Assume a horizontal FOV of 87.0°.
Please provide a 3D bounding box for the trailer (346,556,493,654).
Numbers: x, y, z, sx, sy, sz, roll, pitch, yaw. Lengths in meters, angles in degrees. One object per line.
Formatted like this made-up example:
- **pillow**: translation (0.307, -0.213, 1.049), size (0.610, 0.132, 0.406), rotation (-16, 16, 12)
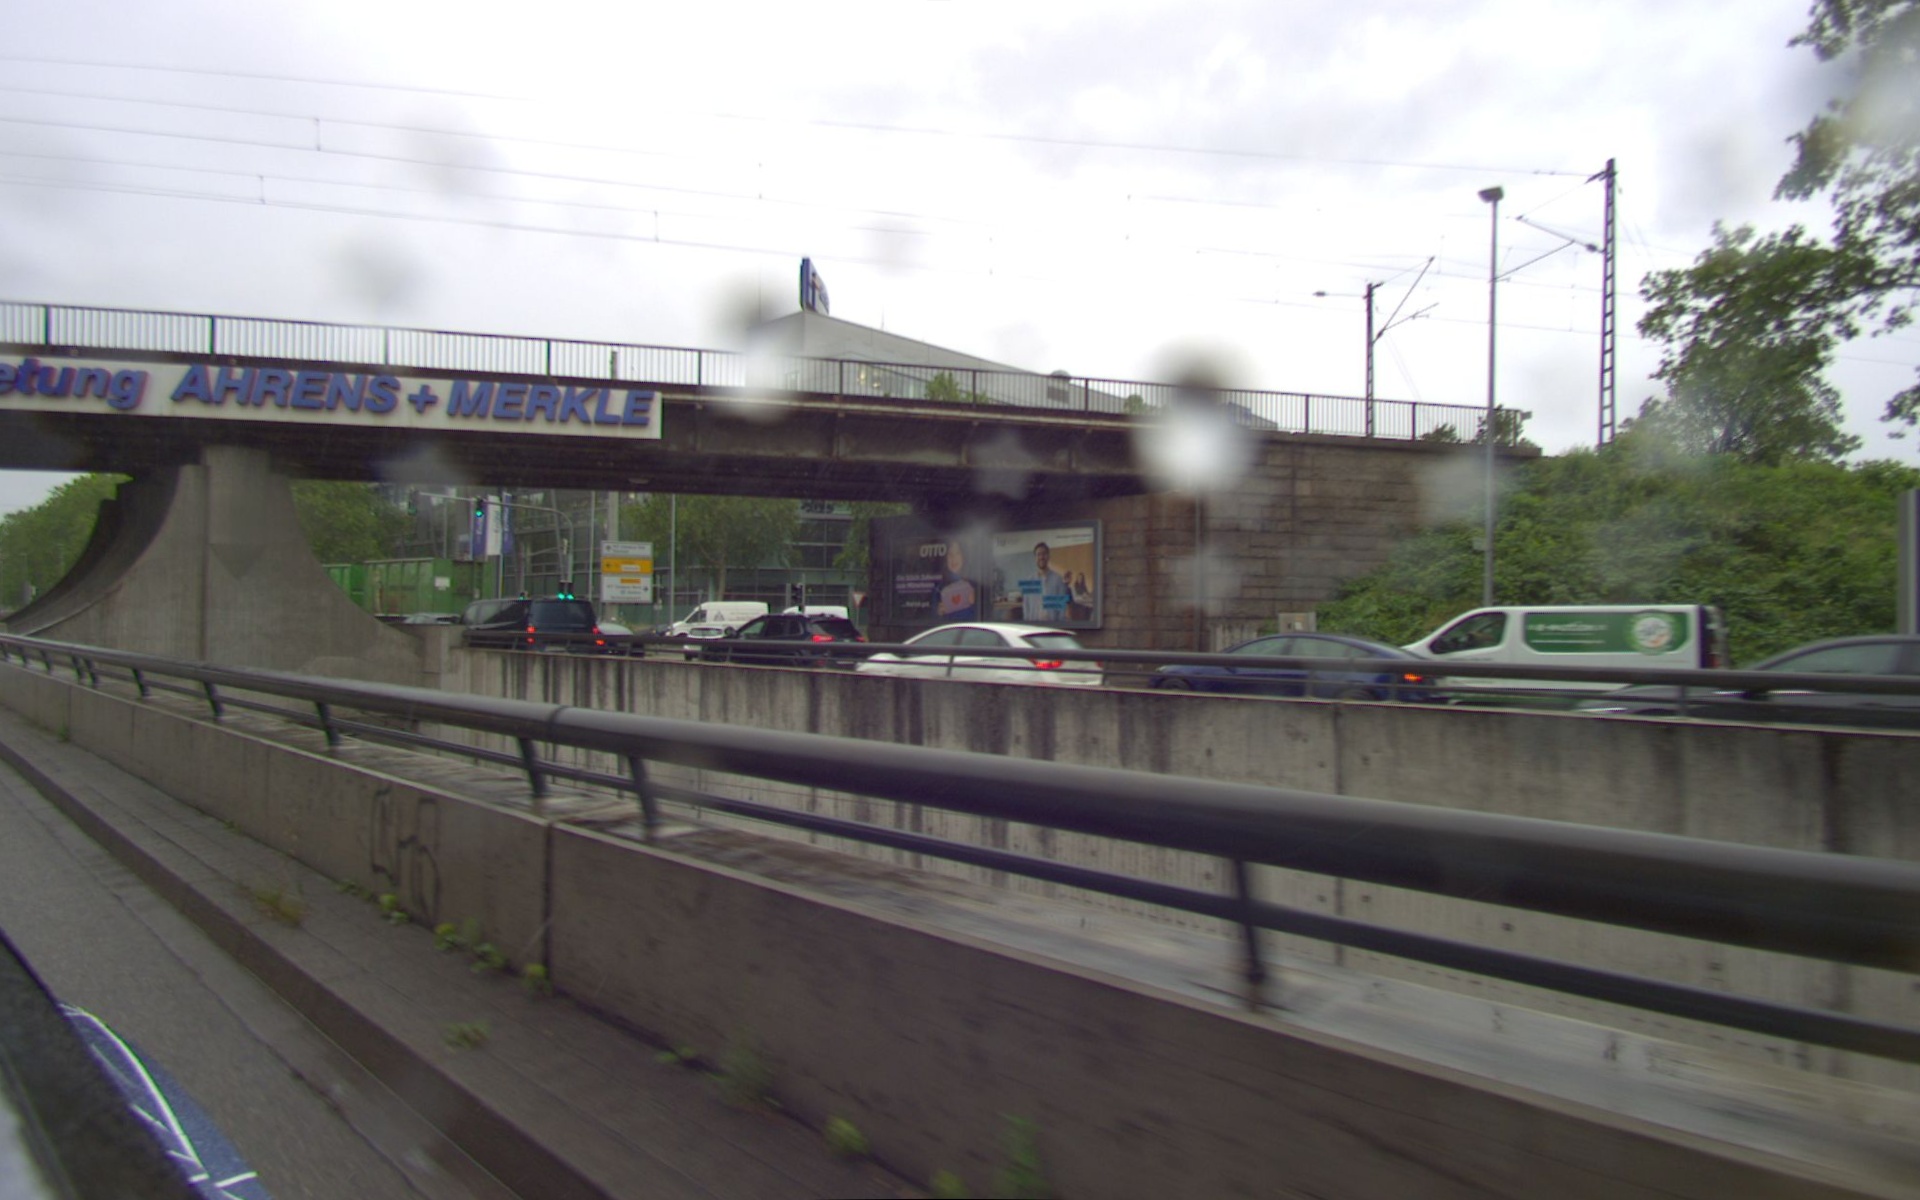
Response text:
- **trailer**: translation (-24.103, 0.281, 44.917), size (8.512, 4.017, 2.654), rotation (-1, -2, 39)

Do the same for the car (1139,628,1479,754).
- **car**: translation (5.219, 1.258, 15.511), size (4.548, 1.586, 1.959), rotation (0, -2, 41)

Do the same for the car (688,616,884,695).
- **car**: translation (-4.045, 1.196, 23.132), size (4.608, 1.586, 1.958), rotation (0, -2, 41)

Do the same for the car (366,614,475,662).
- **car**: translation (-19.319, 1.315, 36.177), size (4.548, 1.586, 1.958), rotation (0, -2, 41)

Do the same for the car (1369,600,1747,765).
- **car**: translation (9.129, 1.147, 15.755), size (4.845, 2.186, 1.735), rotation (-1, -2, 41)

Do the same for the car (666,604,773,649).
- **car**: translation (-13.824, 1.532, 58.268), size (5.862, 2.452, 1.975), rotation (1, -1, -12)

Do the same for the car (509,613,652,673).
- **car**: translation (-11.048, 1.203, 29.356), size (4.548, 1.586, 1.958), rotation (0, -2, 41)

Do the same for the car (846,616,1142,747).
- **car**: translation (0.403, 1.077, 14.933), size (4.088, 1.645, 1.972), rotation (-1, -2, 43)

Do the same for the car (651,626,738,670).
- **car**: translation (-10.430, 1.828, 39.484), size (1.952, 1.586, 4.529), rotation (1, -1, -33)

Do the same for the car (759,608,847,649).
- **car**: translation (-9.697, 1.743, 62.283), size (5.174, 2.452, 1.975), rotation (1, -1, -12)

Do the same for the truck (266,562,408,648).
- **truck**: translation (-31.441, 0.336, 50.825), size (10.181, 3.979, 2.653), rotation (-1, -2, 38)

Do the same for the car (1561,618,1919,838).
- **car**: translation (7.650, 0.991, 8.589), size (4.088, 1.645, 1.972), rotation (-1, -2, 43)

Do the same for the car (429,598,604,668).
- **car**: translation (-11.408, 0.790, 25.807), size (5.538, 1.586, 1.958), rotation (0, -2, 42)
